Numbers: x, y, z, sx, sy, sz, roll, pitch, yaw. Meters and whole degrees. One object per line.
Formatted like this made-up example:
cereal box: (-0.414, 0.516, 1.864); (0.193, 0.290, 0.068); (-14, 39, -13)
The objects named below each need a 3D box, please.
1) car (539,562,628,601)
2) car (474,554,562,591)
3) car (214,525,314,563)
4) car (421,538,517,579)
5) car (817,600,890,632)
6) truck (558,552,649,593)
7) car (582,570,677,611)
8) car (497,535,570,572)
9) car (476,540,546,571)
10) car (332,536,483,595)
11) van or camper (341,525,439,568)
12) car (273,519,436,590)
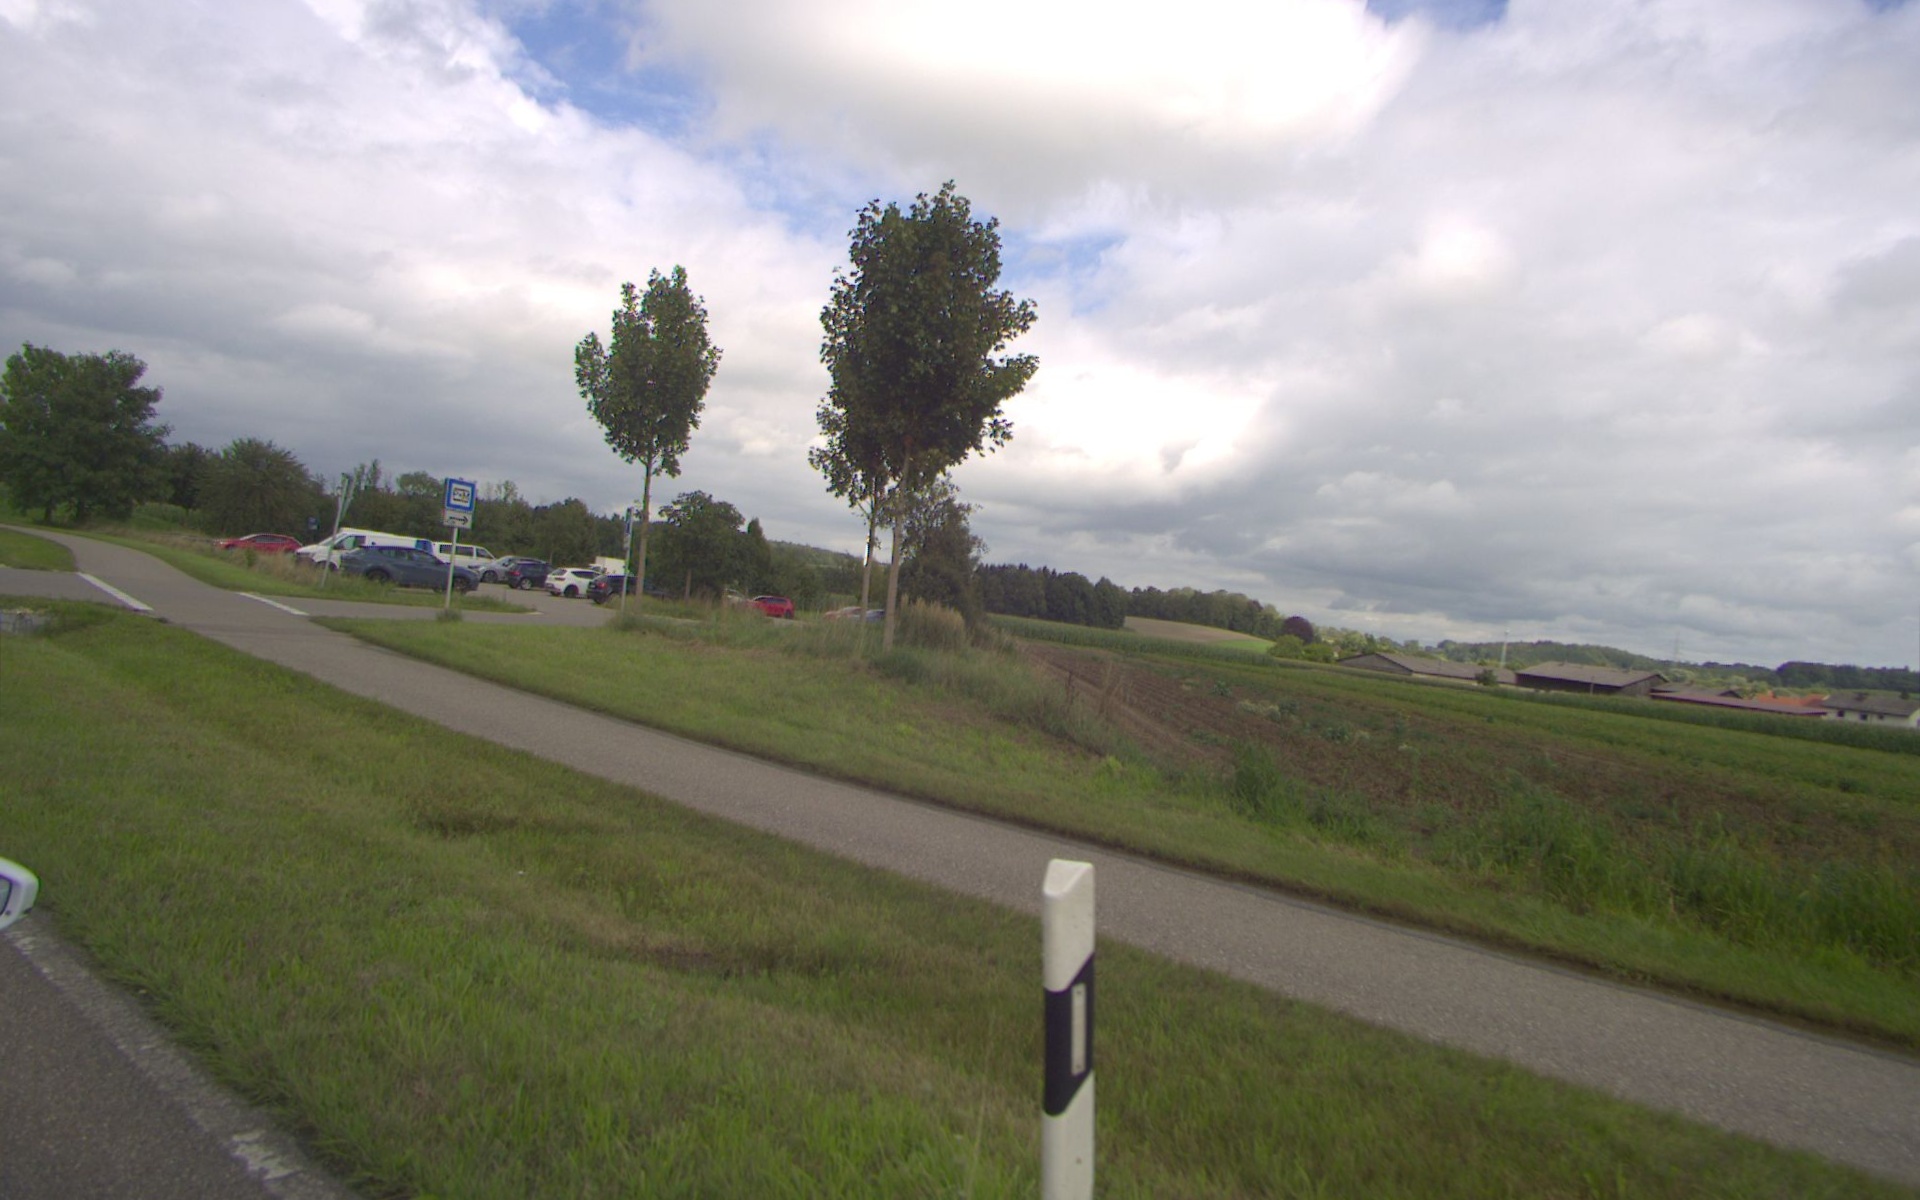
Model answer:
car: (-18.595, -0.885, 49.762); (1.734, 1.407, 3.685); (6, -1, 39)
car: (-22.870, -1.389, 52.111); (1.734, 1.407, 3.685); (6, -1, 39)
car: (-39.626, -3.182, 57.360); (1.945, 1.595, 4.318); (6, 0, 43)
car: (-31.538, -2.630, 64.749); (2.202, 2.026, 5.013); (6, 0, 43)
car: (-6.538, 0.982, 61.854); (3.973, 1.455, 1.897); (8, -1, -42)
truck: (-31.494, -2.396, 88.944); (6.860, 2.747, 2.797); (8, -1, -44)
car: (-15.151, -0.416, 46.227); (1.707, 1.407, 3.679); (6, -1, 44)
car: (-24.574, -2.663, 58.067); (3.650, 1.627, 1.751); (7, -1, -22)
car: (-32.049, -3.168, 71.878); (1.970, 1.615, 3.987); (7, -1, 37)
car: (-19.462, -1.201, 35.544); (1.814, 1.586, 4.260); (6, 0, 44)
van or camper: (-48.126, -4.486, 85.039); (6.720, 2.592, 2.024); (8, -1, -42)
car: (-23.178, -1.719, 38.655); (1.929, 1.998, 4.935); (7, -1, 44)
